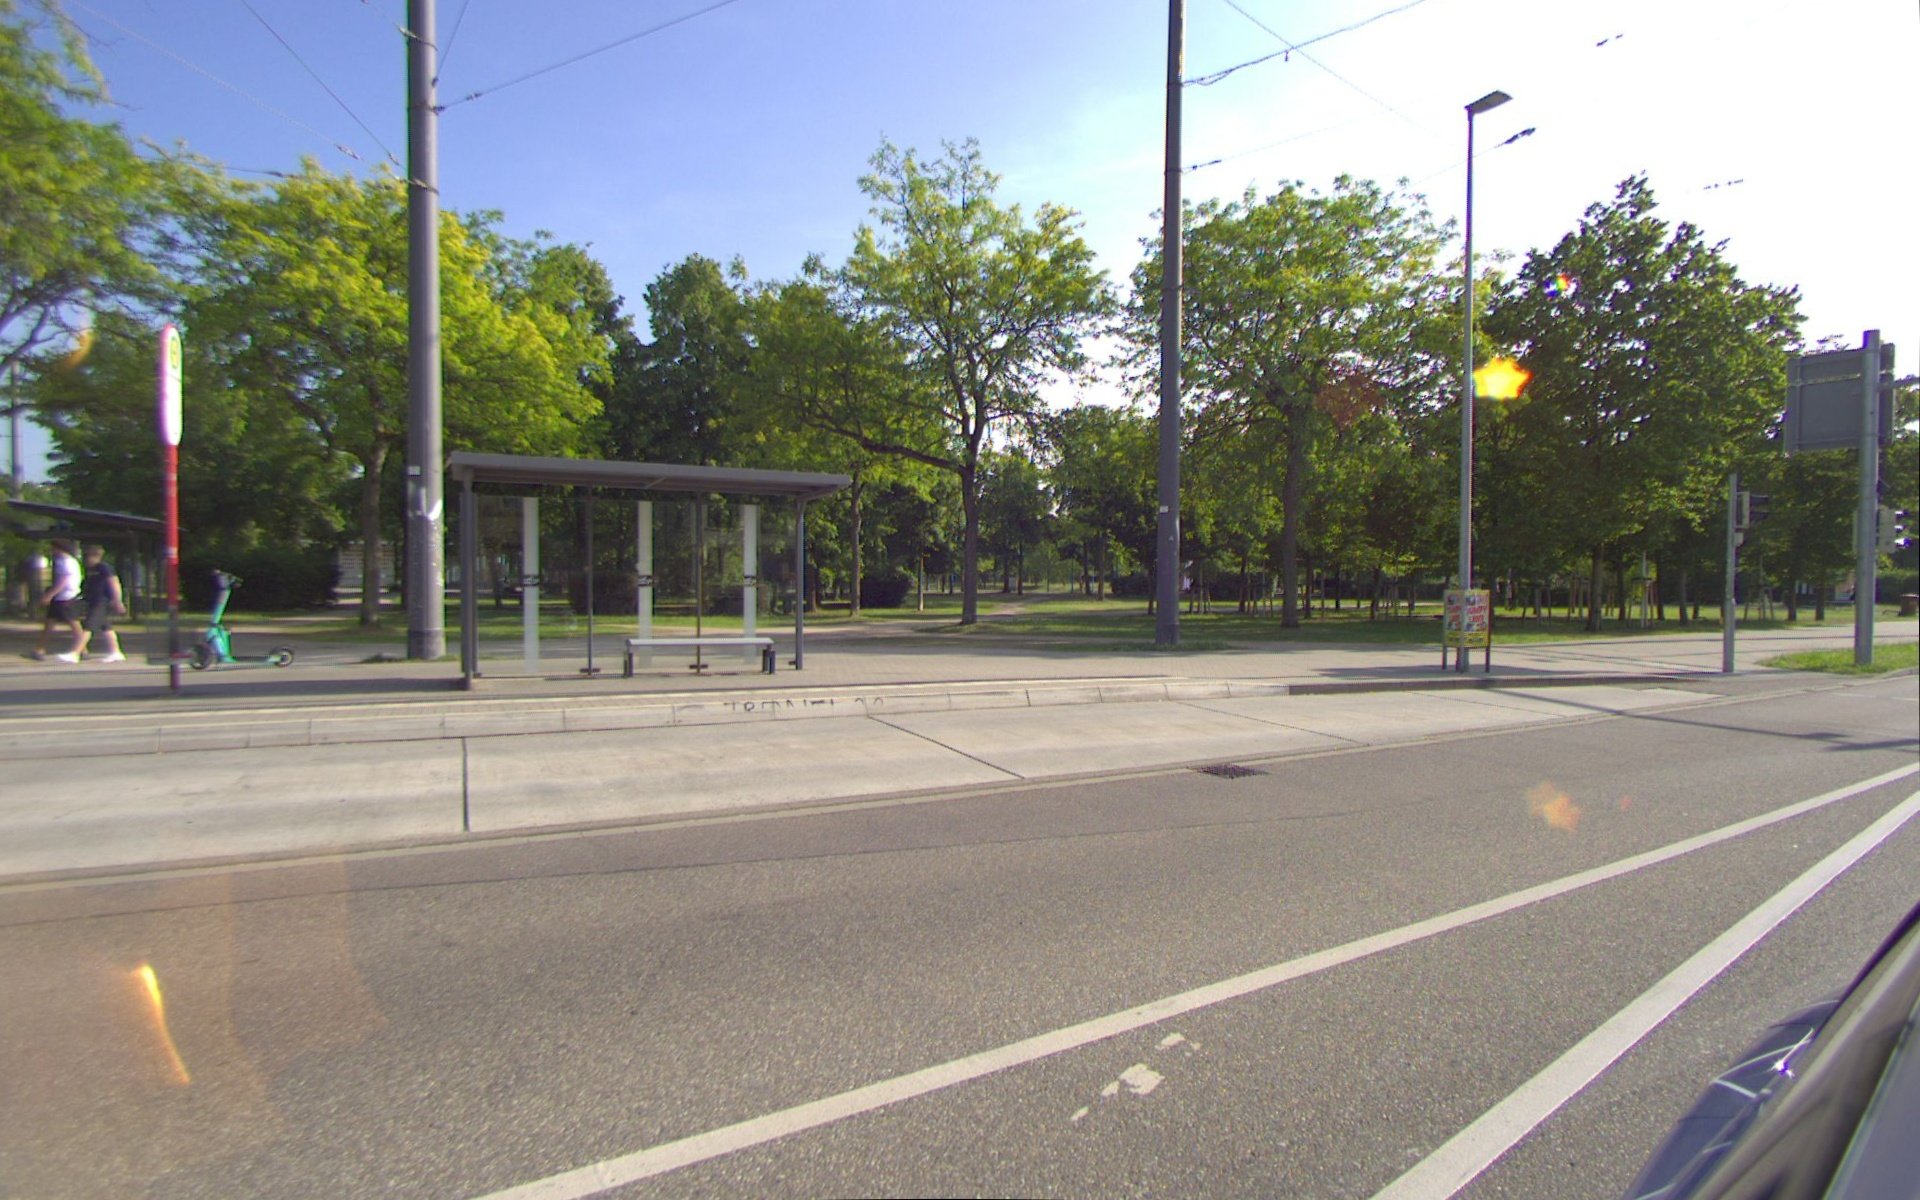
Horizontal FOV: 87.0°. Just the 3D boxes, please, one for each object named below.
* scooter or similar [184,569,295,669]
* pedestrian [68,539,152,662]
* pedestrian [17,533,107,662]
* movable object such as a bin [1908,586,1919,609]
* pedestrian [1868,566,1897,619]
[{"bbox_3d":[-9.318,0.223,13.111,0.351,1.247,1.118,1,2,42],"label":"scooter or similar"},{"bbox_3d":[-12.875,0.012,15.332,0.669,1.800,0.868,-2,-1,38],"label":"pedestrian"},{"bbox_3d":[-13.856,-0.036,15.618,0.667,1.922,0.871,-2,-1,30],"label":"pedestrian"},{"bbox_3d":[38.948,-0.093,41.021,0.515,0.915,0.503,0,1,6],"label":"movable object such as a bin"},{"bbox_3d":[30.323,-0.258,33.269,0.649,1.722,0.559,0,1,-34],"label":"pedestrian"}]
